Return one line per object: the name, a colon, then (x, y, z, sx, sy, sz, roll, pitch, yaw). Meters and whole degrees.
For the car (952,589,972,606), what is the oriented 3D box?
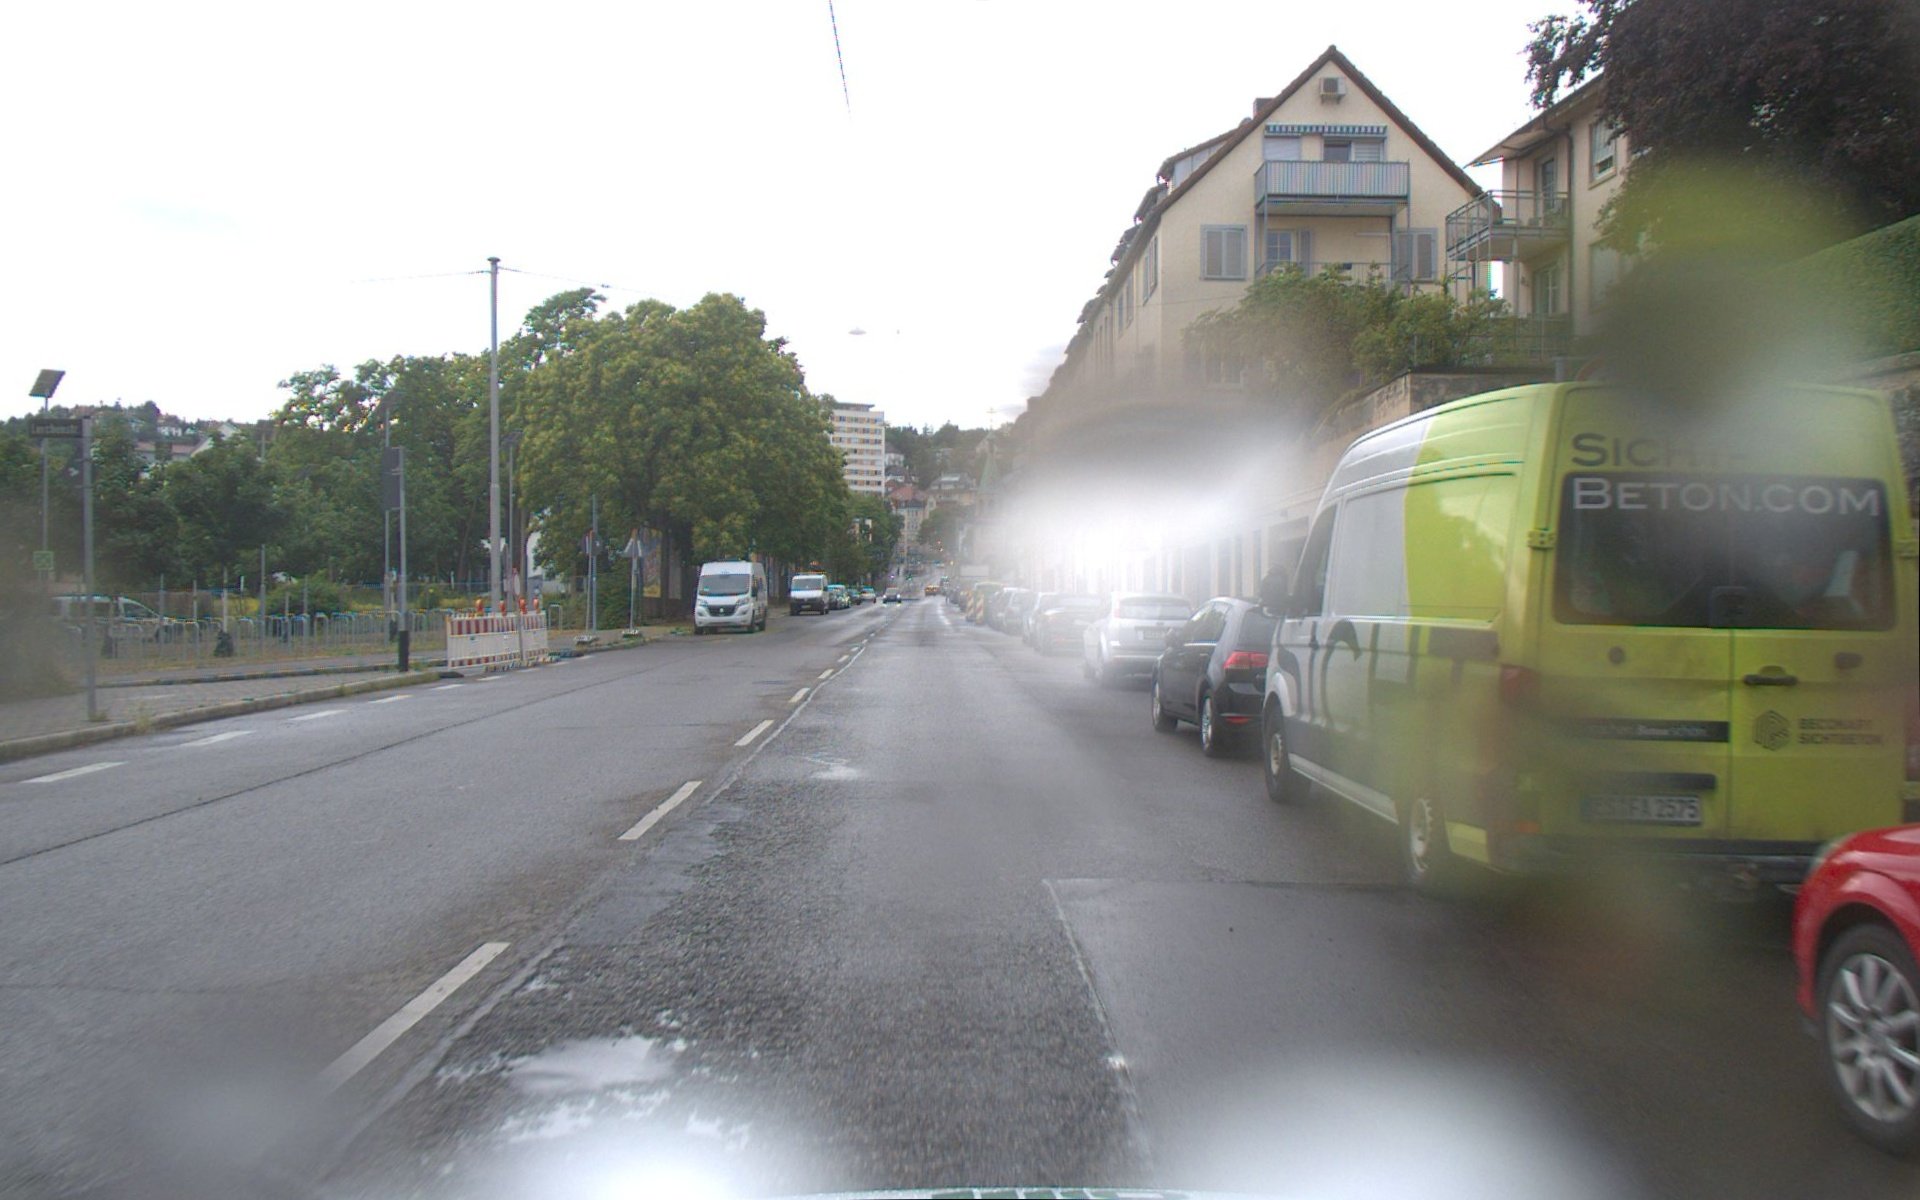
car: (0.183, -0.267, 164.140, 1.781, 1.681, 4.075, 1, 0, -1)

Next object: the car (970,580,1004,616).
car: (1.476, -0.134, 92.213, 1.780, 1.957, 4.238, -1, 0, 0)

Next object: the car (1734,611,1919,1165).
car: (3.401, 0.808, 3.335, 1.686, 1.446, 4.203, 1, 1, 0)

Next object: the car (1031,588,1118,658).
car: (2.599, 0.500, 38.232, 1.596, 1.479, 3.758, 1, 1, -2)

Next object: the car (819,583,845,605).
car: (-9.285, -0.422, 120.339, 1.648, 1.488, 4.275, -1, 0, -2)

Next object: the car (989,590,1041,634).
car: (2.070, 0.421, 62.847, 1.681, 1.551, 3.999, 1, 1, -2)

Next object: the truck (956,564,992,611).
truck: (0.956, -0.855, 118.093, 2.419, 3.228, 7.035, 0, 0, -1)

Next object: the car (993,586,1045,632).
car: (2.022, 0.294, 57.387, 1.527, 1.479, 3.758, 1, 1, -2)

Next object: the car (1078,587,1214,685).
car: (3.023, 0.612, 27.685, 1.654, 1.479, 4.233, 1, -1, -2)

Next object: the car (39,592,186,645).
car: (-32.734, 0.685, 63.961, 1.963, 1.866, 4.668, -1, 1, 40)

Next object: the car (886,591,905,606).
car: (-6.392, -0.162, 163.000, 1.769, 1.440, 4.380, 0, 0, -4)

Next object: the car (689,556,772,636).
car: (-8.124, -0.180, 59.166, 2.185, 2.624, 6.535, -2, 1, -2)

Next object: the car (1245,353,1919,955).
car: (3.402, 0.192, 10.038, 2.160, 2.506, 6.079, 1, 1, -1)

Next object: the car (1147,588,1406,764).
car: (3.022, 0.656, 16.639, 1.654, 1.479, 4.234, 1, 1, -2)

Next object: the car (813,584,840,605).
car: (-9.108, -0.363, 113.004, 1.648, 1.423, 3.909, -1, 0, -2)

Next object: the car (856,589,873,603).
car: (-9.799, -0.396, 169.508, 1.675, 1.476, 4.292, -1, 0, -2)

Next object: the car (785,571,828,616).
car: (-9.025, -0.404, 97.923, 1.971, 2.530, 5.983, -1, 1, 0)

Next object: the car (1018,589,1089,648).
car: (2.519, 0.479, 45.312, 1.596, 1.479, 3.758, 1, 1, -2)

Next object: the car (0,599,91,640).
car: (-39.742, 0.831, 70.986, 1.767, 1.654, 3.979, -1, 1, 40)

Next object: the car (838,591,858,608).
car: (-10.421, -0.045, 154.007, 1.767, 1.476, 4.655, -1, 0, -3)
